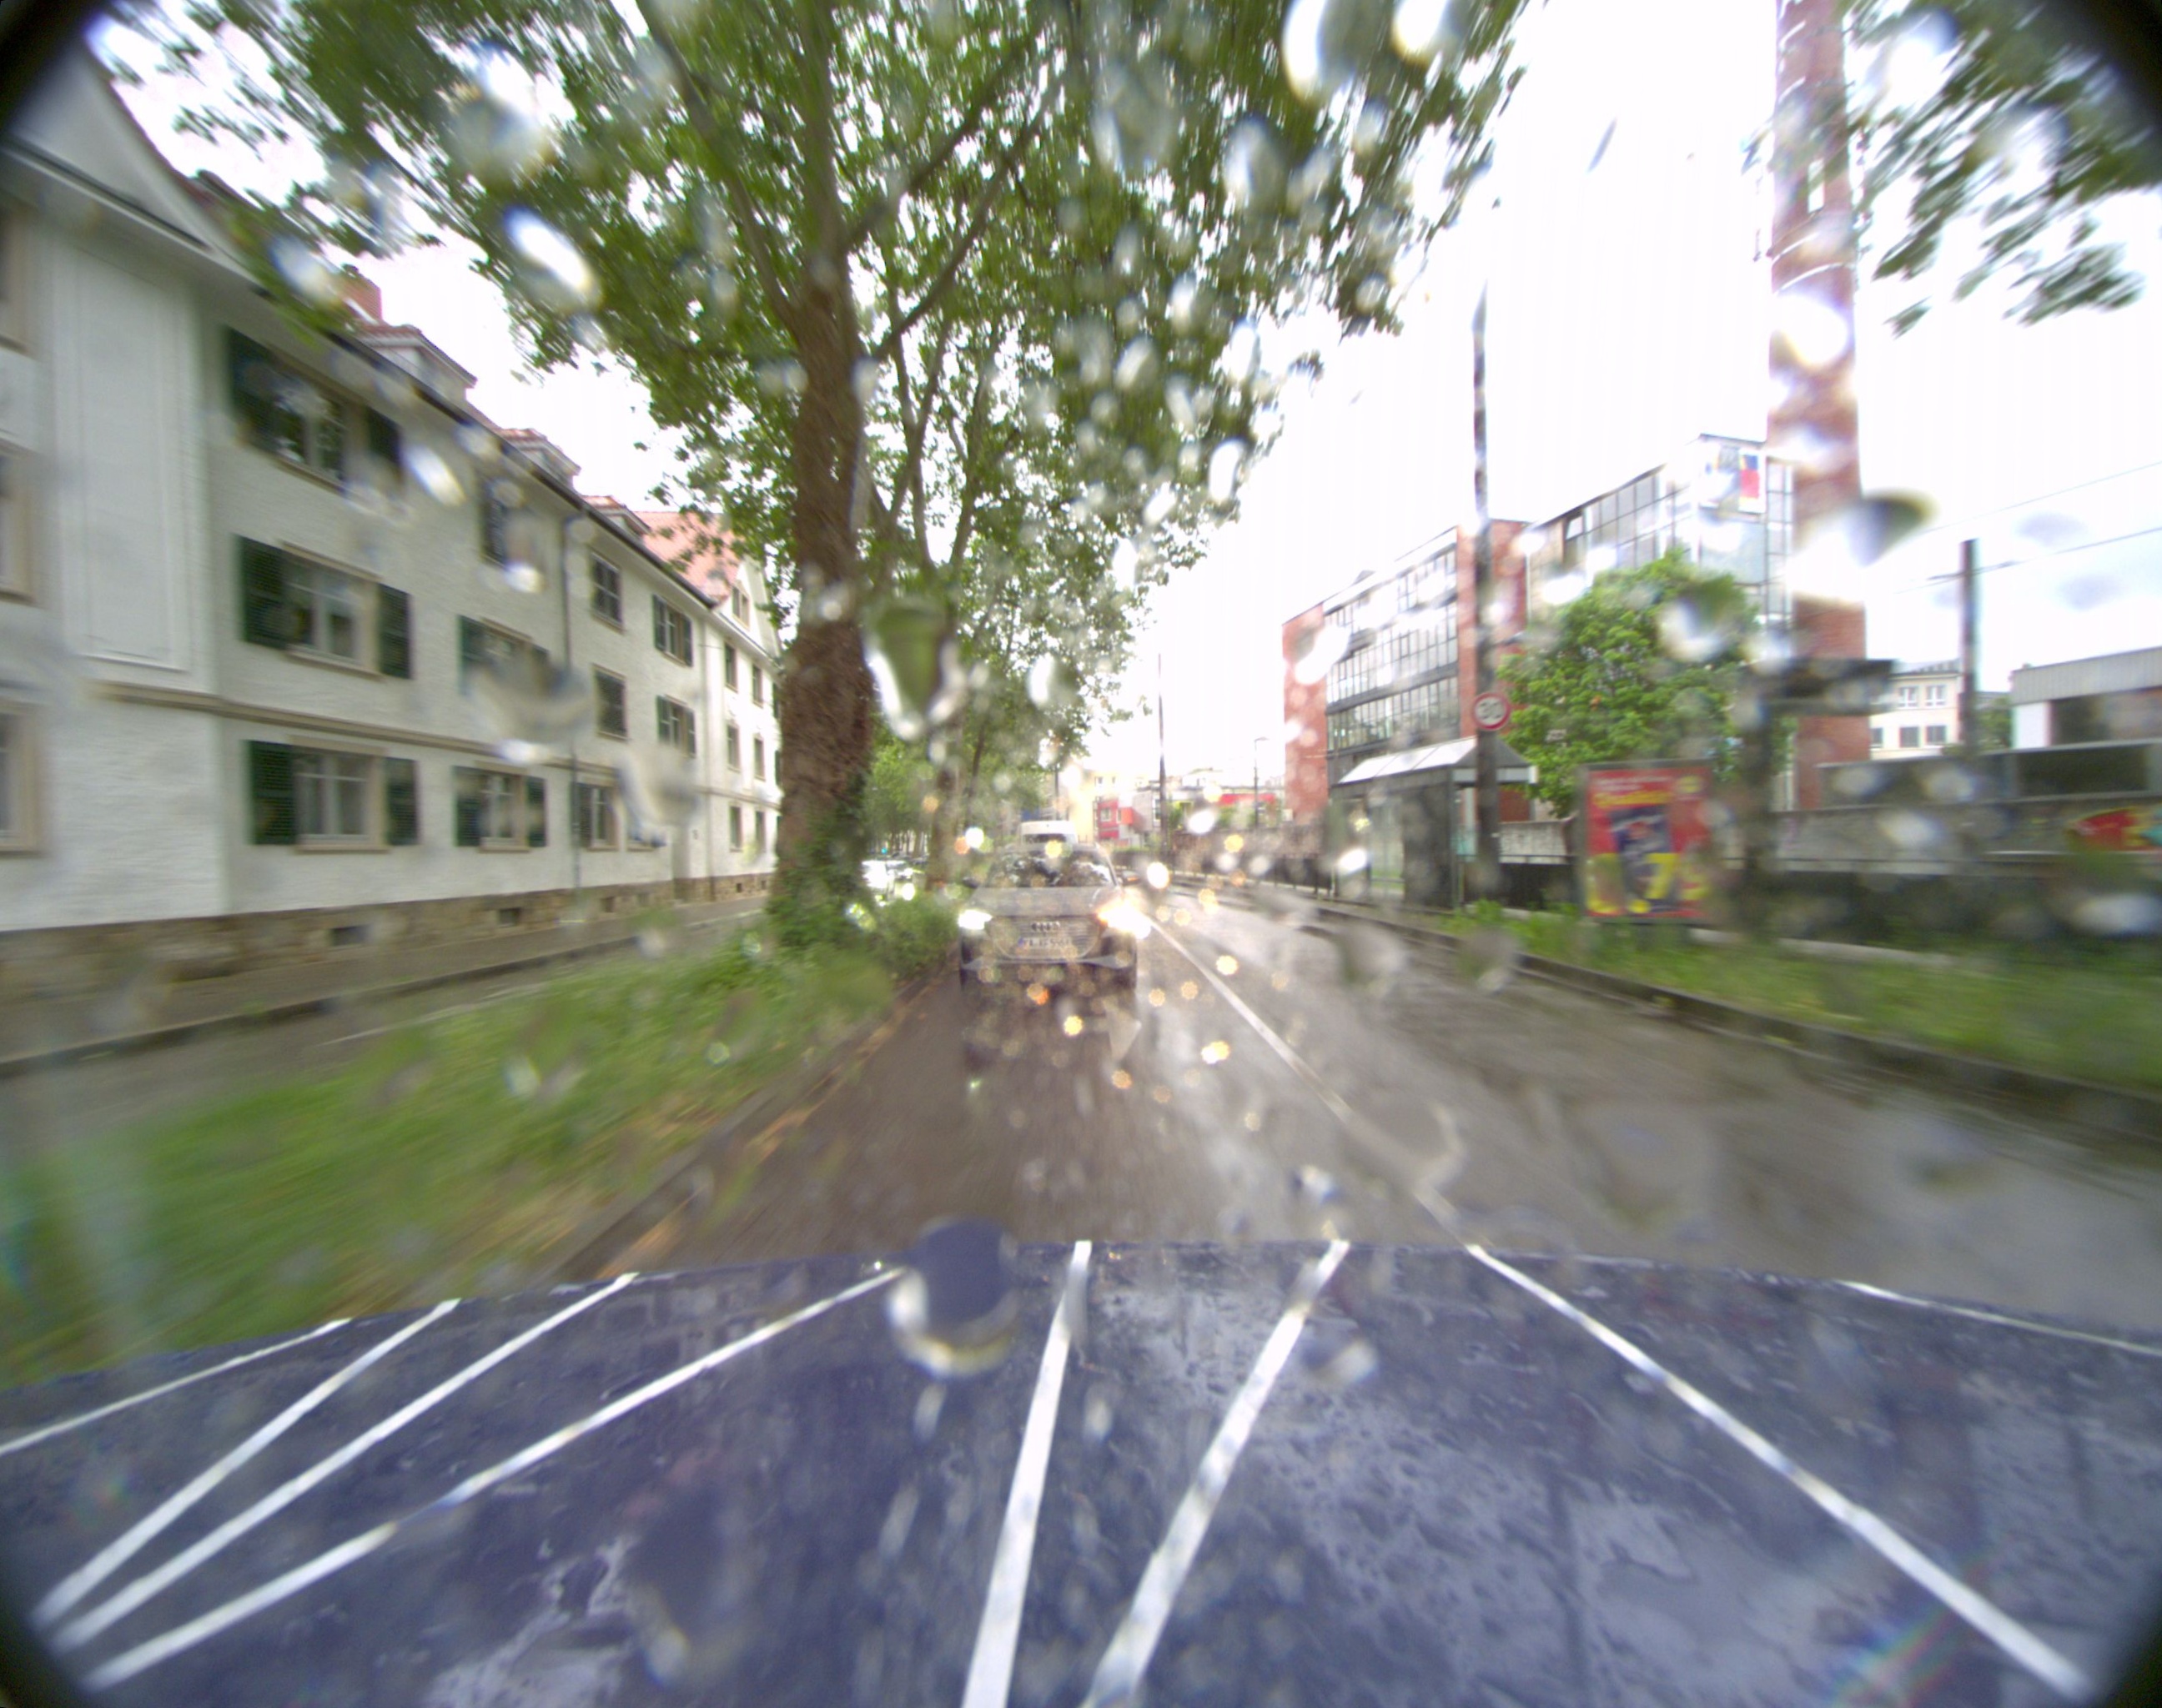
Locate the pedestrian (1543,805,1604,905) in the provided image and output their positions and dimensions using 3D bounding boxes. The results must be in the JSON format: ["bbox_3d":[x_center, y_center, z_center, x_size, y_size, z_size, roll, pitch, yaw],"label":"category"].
[{"bbox_3d":[8.090,0.011,12.495,0.715,1.594,0.494,-2,2,-16],"label":"pedestrian"}]

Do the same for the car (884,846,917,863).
[{"bbox_3d":[-23.814,0.046,100.192,4.003,2.002,1.997,-2,1,-17],"label":"car"}]

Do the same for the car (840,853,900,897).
[{"bbox_3d":[-8.480,0.796,30.829,1.832,1.517,3.996,-2,1,-8],"label":"car"}]

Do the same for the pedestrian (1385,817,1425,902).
[{"bbox_3d":[6.730,0.111,15.801,0.629,1.739,0.564,-1,2,8],"label":"pedestrian"}]

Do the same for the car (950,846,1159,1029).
[{"bbox_3d":[-0.324,0.757,9.172,1.917,1.632,4.105,-1,1,-2],"label":"car"}]

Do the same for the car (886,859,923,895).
[{"bbox_3d":[-11.105,1.382,47.556,2.001,2.002,3.994,3,0,-15],"label":"car"}]

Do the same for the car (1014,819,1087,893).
[{"bbox_3d":[-1.170,0.032,26.365,2.196,2.250,5.408,-2,1,-5],"label":"car"}]
